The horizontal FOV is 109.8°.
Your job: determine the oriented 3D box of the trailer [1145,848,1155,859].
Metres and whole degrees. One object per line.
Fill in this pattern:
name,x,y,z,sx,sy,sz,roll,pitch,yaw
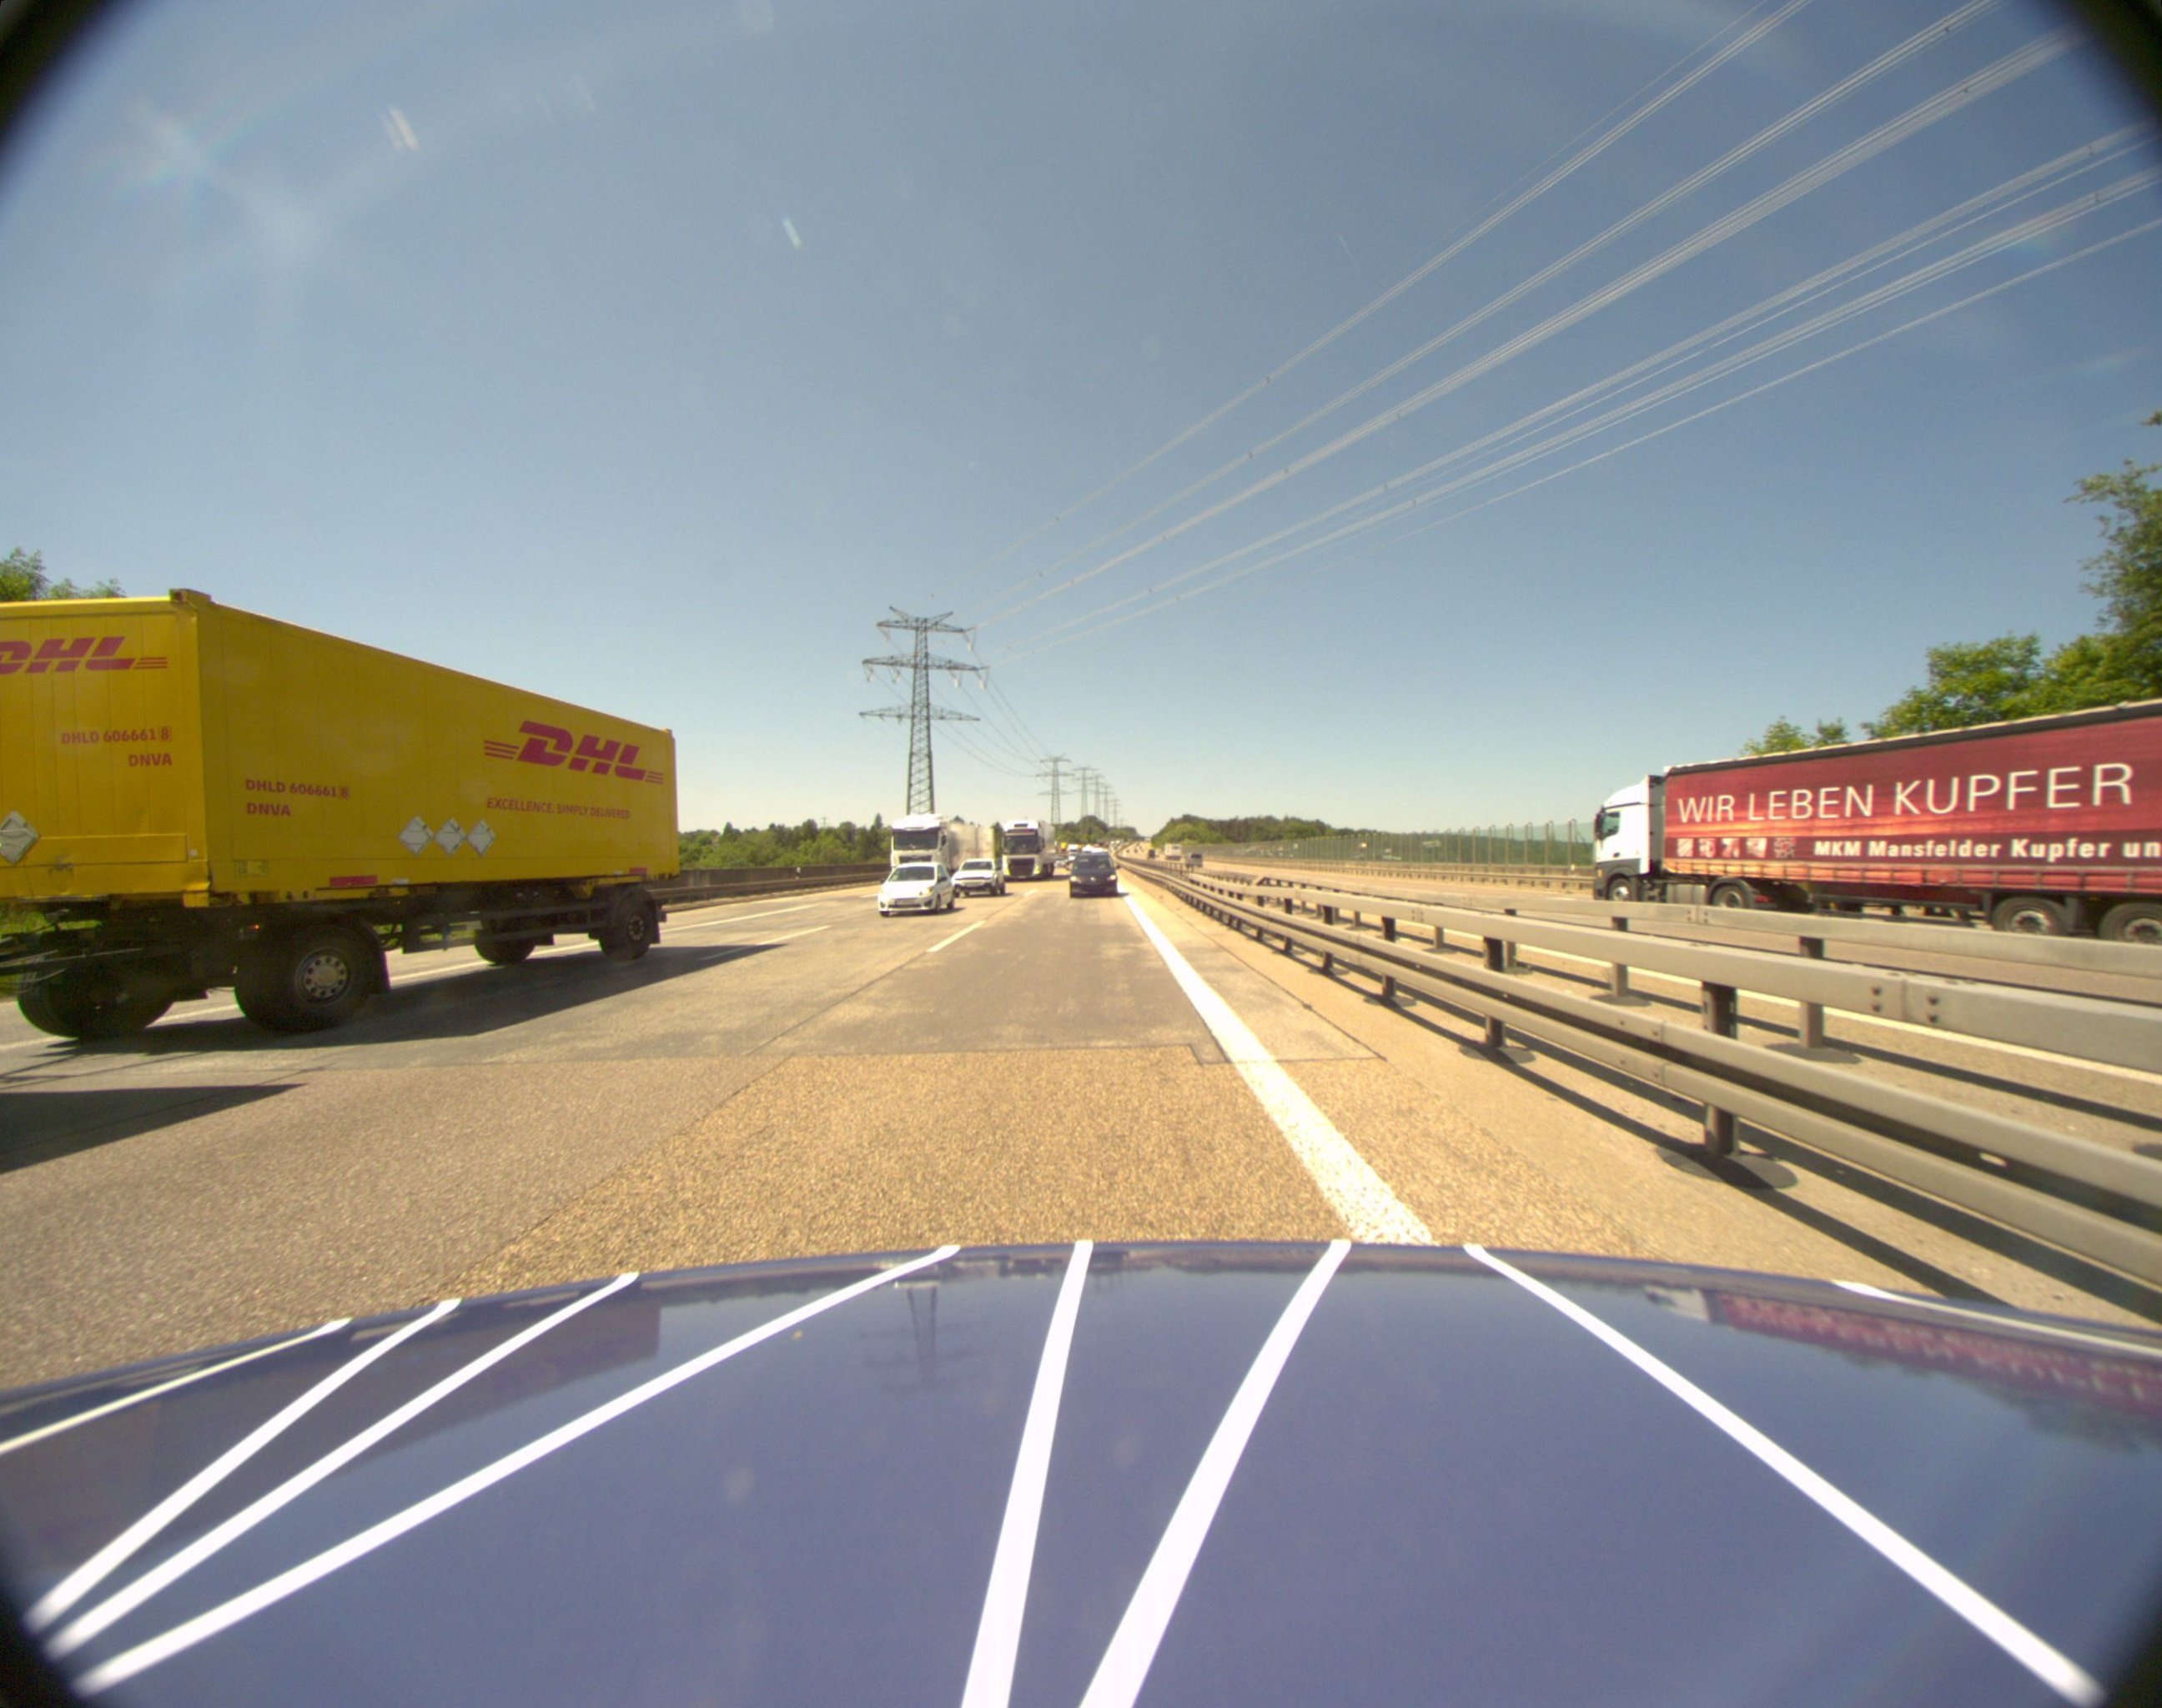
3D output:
trailer,18.122,-0.201,199.159,2.171,2.761,5.376,2,1,2

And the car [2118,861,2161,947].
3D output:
car,20.832,0.991,11.903,1.998,1.567,5.275,2,1,2

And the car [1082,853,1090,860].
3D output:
car,1.190,0.634,180.443,1.821,1.569,4.000,-2,1,1

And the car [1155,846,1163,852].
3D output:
car,25.072,-1.534,244.667,1.998,1.929,5.274,-2,1,2

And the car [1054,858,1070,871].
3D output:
car,-2.485,1.307,98.513,1.821,1.569,4.000,-2,1,1

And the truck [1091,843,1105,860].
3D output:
truck,2.951,-0.418,131.649,2.309,2.789,5.109,-2,1,2

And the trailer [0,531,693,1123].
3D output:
trailer,-8.756,-0.141,9.445,2.772,4.093,9.377,-2,0,1

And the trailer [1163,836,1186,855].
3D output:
trailer,22.278,-2.023,181.552,3.998,4.211,14.040,0,0,2

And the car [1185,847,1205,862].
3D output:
car,15.154,0.023,101.143,1.998,1.929,4.896,-2,1,2

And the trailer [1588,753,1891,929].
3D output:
trailer,16.966,-0.281,20.290,2.764,3.953,6.131,1,0,1

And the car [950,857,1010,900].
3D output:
car,-4.084,0.950,31.268,1.776,1.521,3.851,-2,1,2

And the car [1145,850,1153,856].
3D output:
car,18.251,-0.235,203.959,1.875,1.616,4.628,-1,1,2

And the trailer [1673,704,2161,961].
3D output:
trailer,18.017,-0.368,14.059,2.770,3.953,14.681,-2,0,1

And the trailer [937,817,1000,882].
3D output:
trailer,-7.438,-0.294,51.228,2.752,3.918,7.773,-2,0,1

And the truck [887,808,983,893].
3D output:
truck,-7.651,-0.200,41.712,2.695,3.907,11.297,-2,0,1

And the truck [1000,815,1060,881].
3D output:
truck,-3.395,-0.403,54.840,2.717,4.015,14.257,-2,0,2

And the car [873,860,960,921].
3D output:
car,-4.728,0.993,22.338,1.659,1.502,3.825,-2,1,0

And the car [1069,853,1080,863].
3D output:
car,-1.114,0.709,136.815,1.821,1.569,4.000,-2,1,1

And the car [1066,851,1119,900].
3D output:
car,0.468,0.732,27.874,1.748,1.569,4.000,-2,1,2

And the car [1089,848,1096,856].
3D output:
car,3.285,-0.610,215.957,1.998,2.002,4.000,-2,1,1
